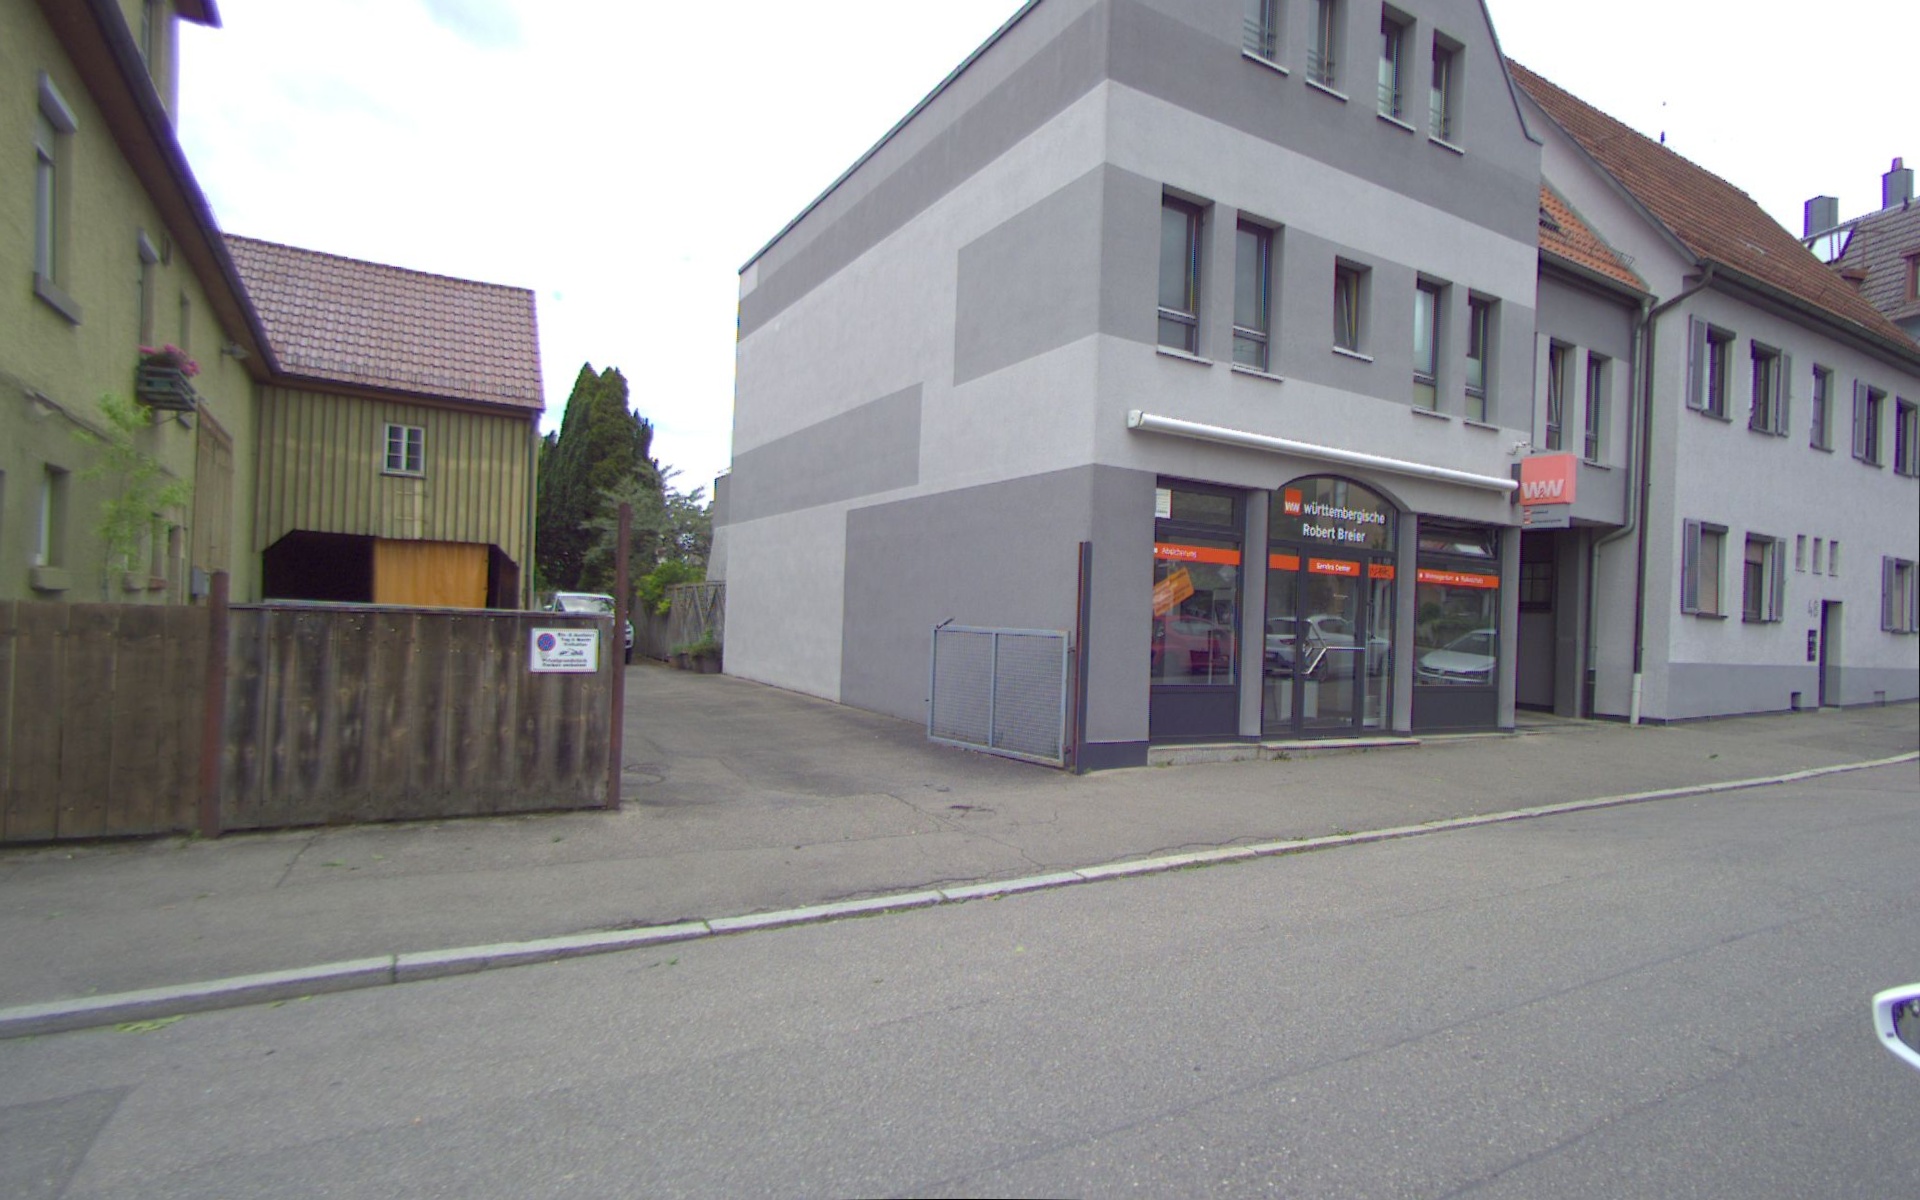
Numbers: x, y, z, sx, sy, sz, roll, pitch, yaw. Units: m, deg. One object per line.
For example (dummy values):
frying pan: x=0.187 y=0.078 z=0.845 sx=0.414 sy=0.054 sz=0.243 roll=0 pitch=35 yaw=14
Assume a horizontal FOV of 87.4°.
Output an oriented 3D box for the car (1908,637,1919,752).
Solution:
car: x=14.708 y=1.241 z=13.506 sx=4.004 sy=1.498 sz=1.791 roll=1 pitch=-4 yaw=-31

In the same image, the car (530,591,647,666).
car: x=-8.979 y=0.642 z=24.084 sx=1.924 sy=1.545 sz=3.923 roll=3 pitch=0 yaw=-30
